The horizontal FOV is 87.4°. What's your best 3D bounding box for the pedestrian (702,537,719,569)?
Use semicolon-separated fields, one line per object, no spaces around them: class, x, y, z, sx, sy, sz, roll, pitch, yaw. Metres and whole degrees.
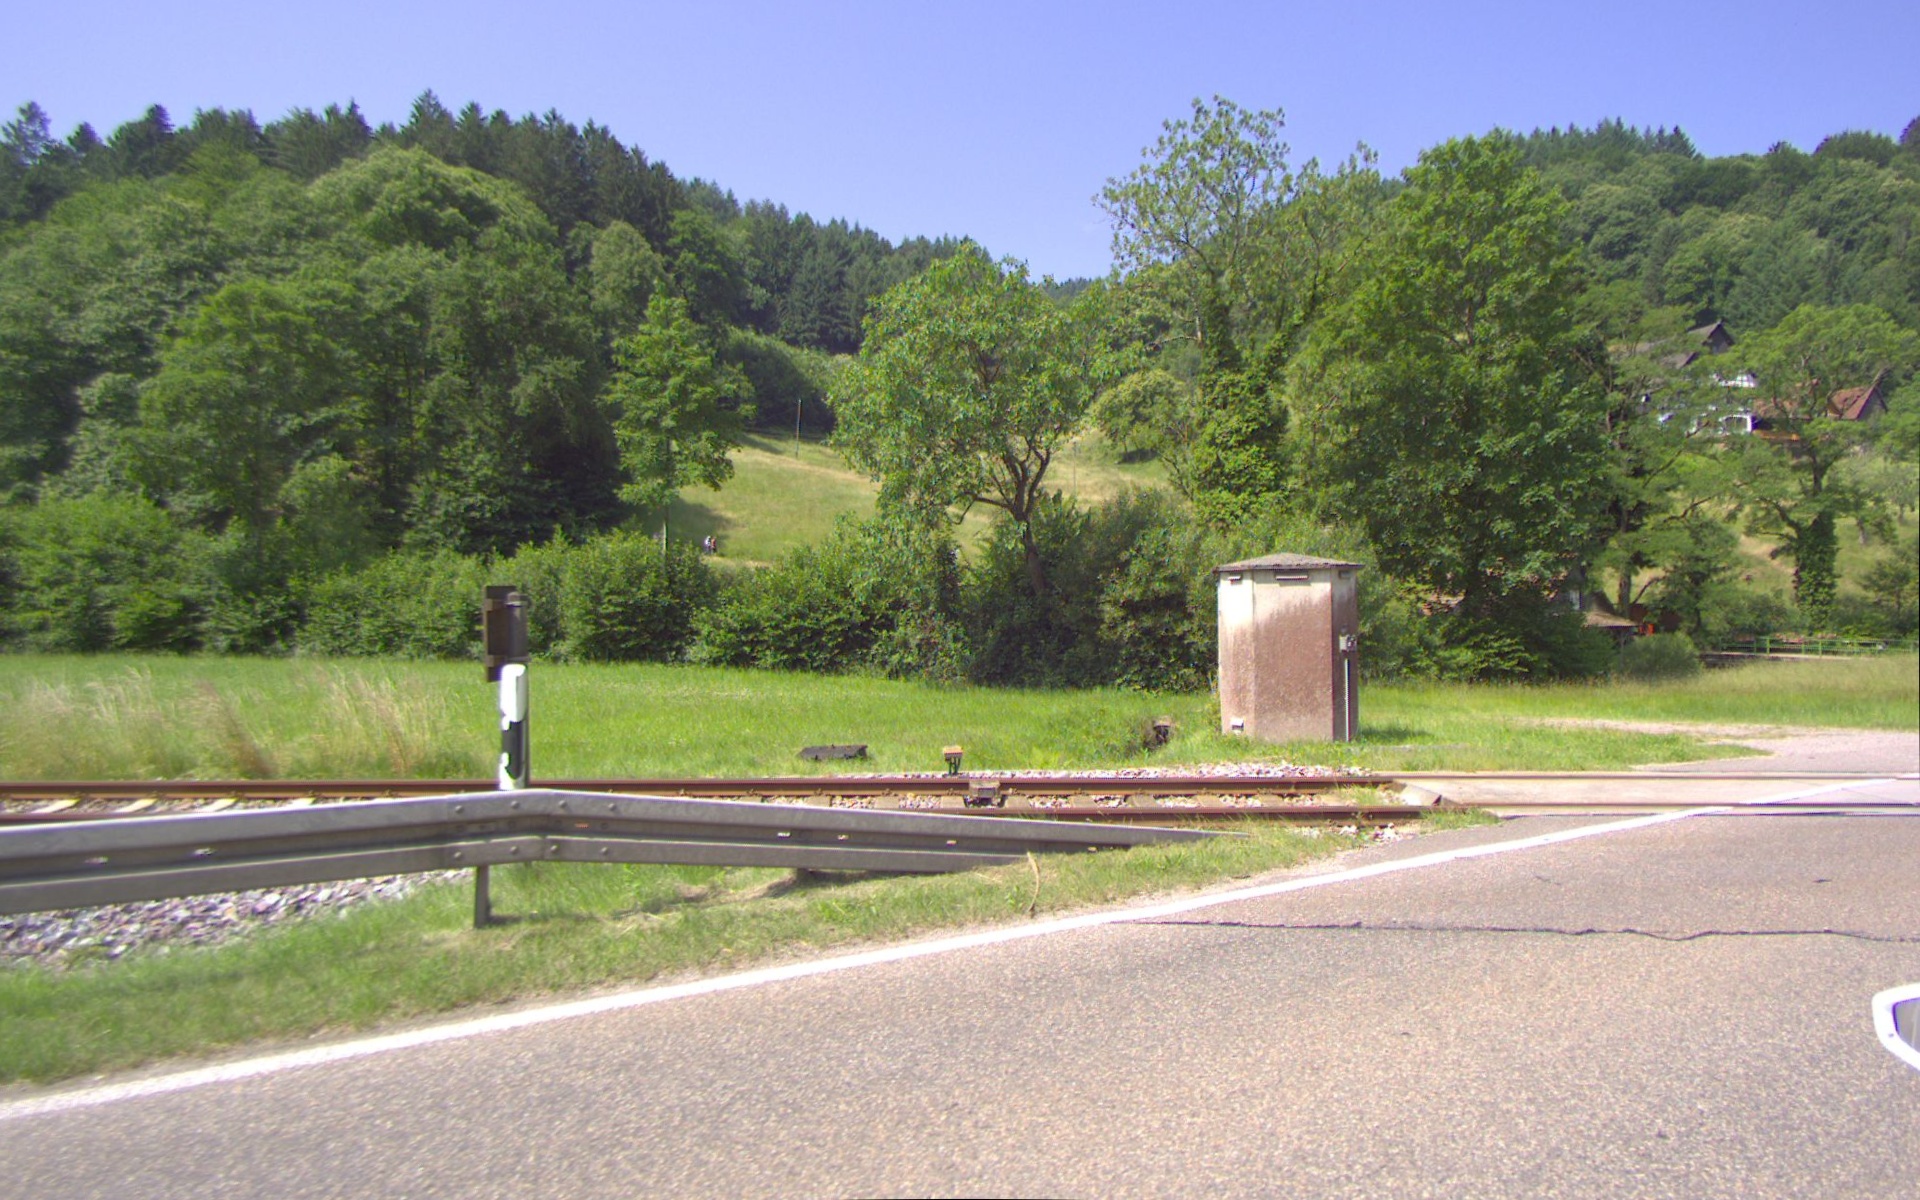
pedestrian;-19.693;-3.672;79.242;1.060;2.397;1.075;1;-2;-30

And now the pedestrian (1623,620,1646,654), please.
pedestrian;41.321;2.279;61.562;0.916;2.040;0.699;1;-2;-13

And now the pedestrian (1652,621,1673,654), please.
pedestrian;42.924;2.295;61.375;0.915;2.040;0.700;-1;-2;29

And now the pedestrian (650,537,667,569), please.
pedestrian;-23.801;-3.702;79.287;1.060;2.397;1.075;1;-2;-30

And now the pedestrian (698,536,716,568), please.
pedestrian;-19.617;-3.722;77.887;1.060;2.397;1.075;1;-2;-30
